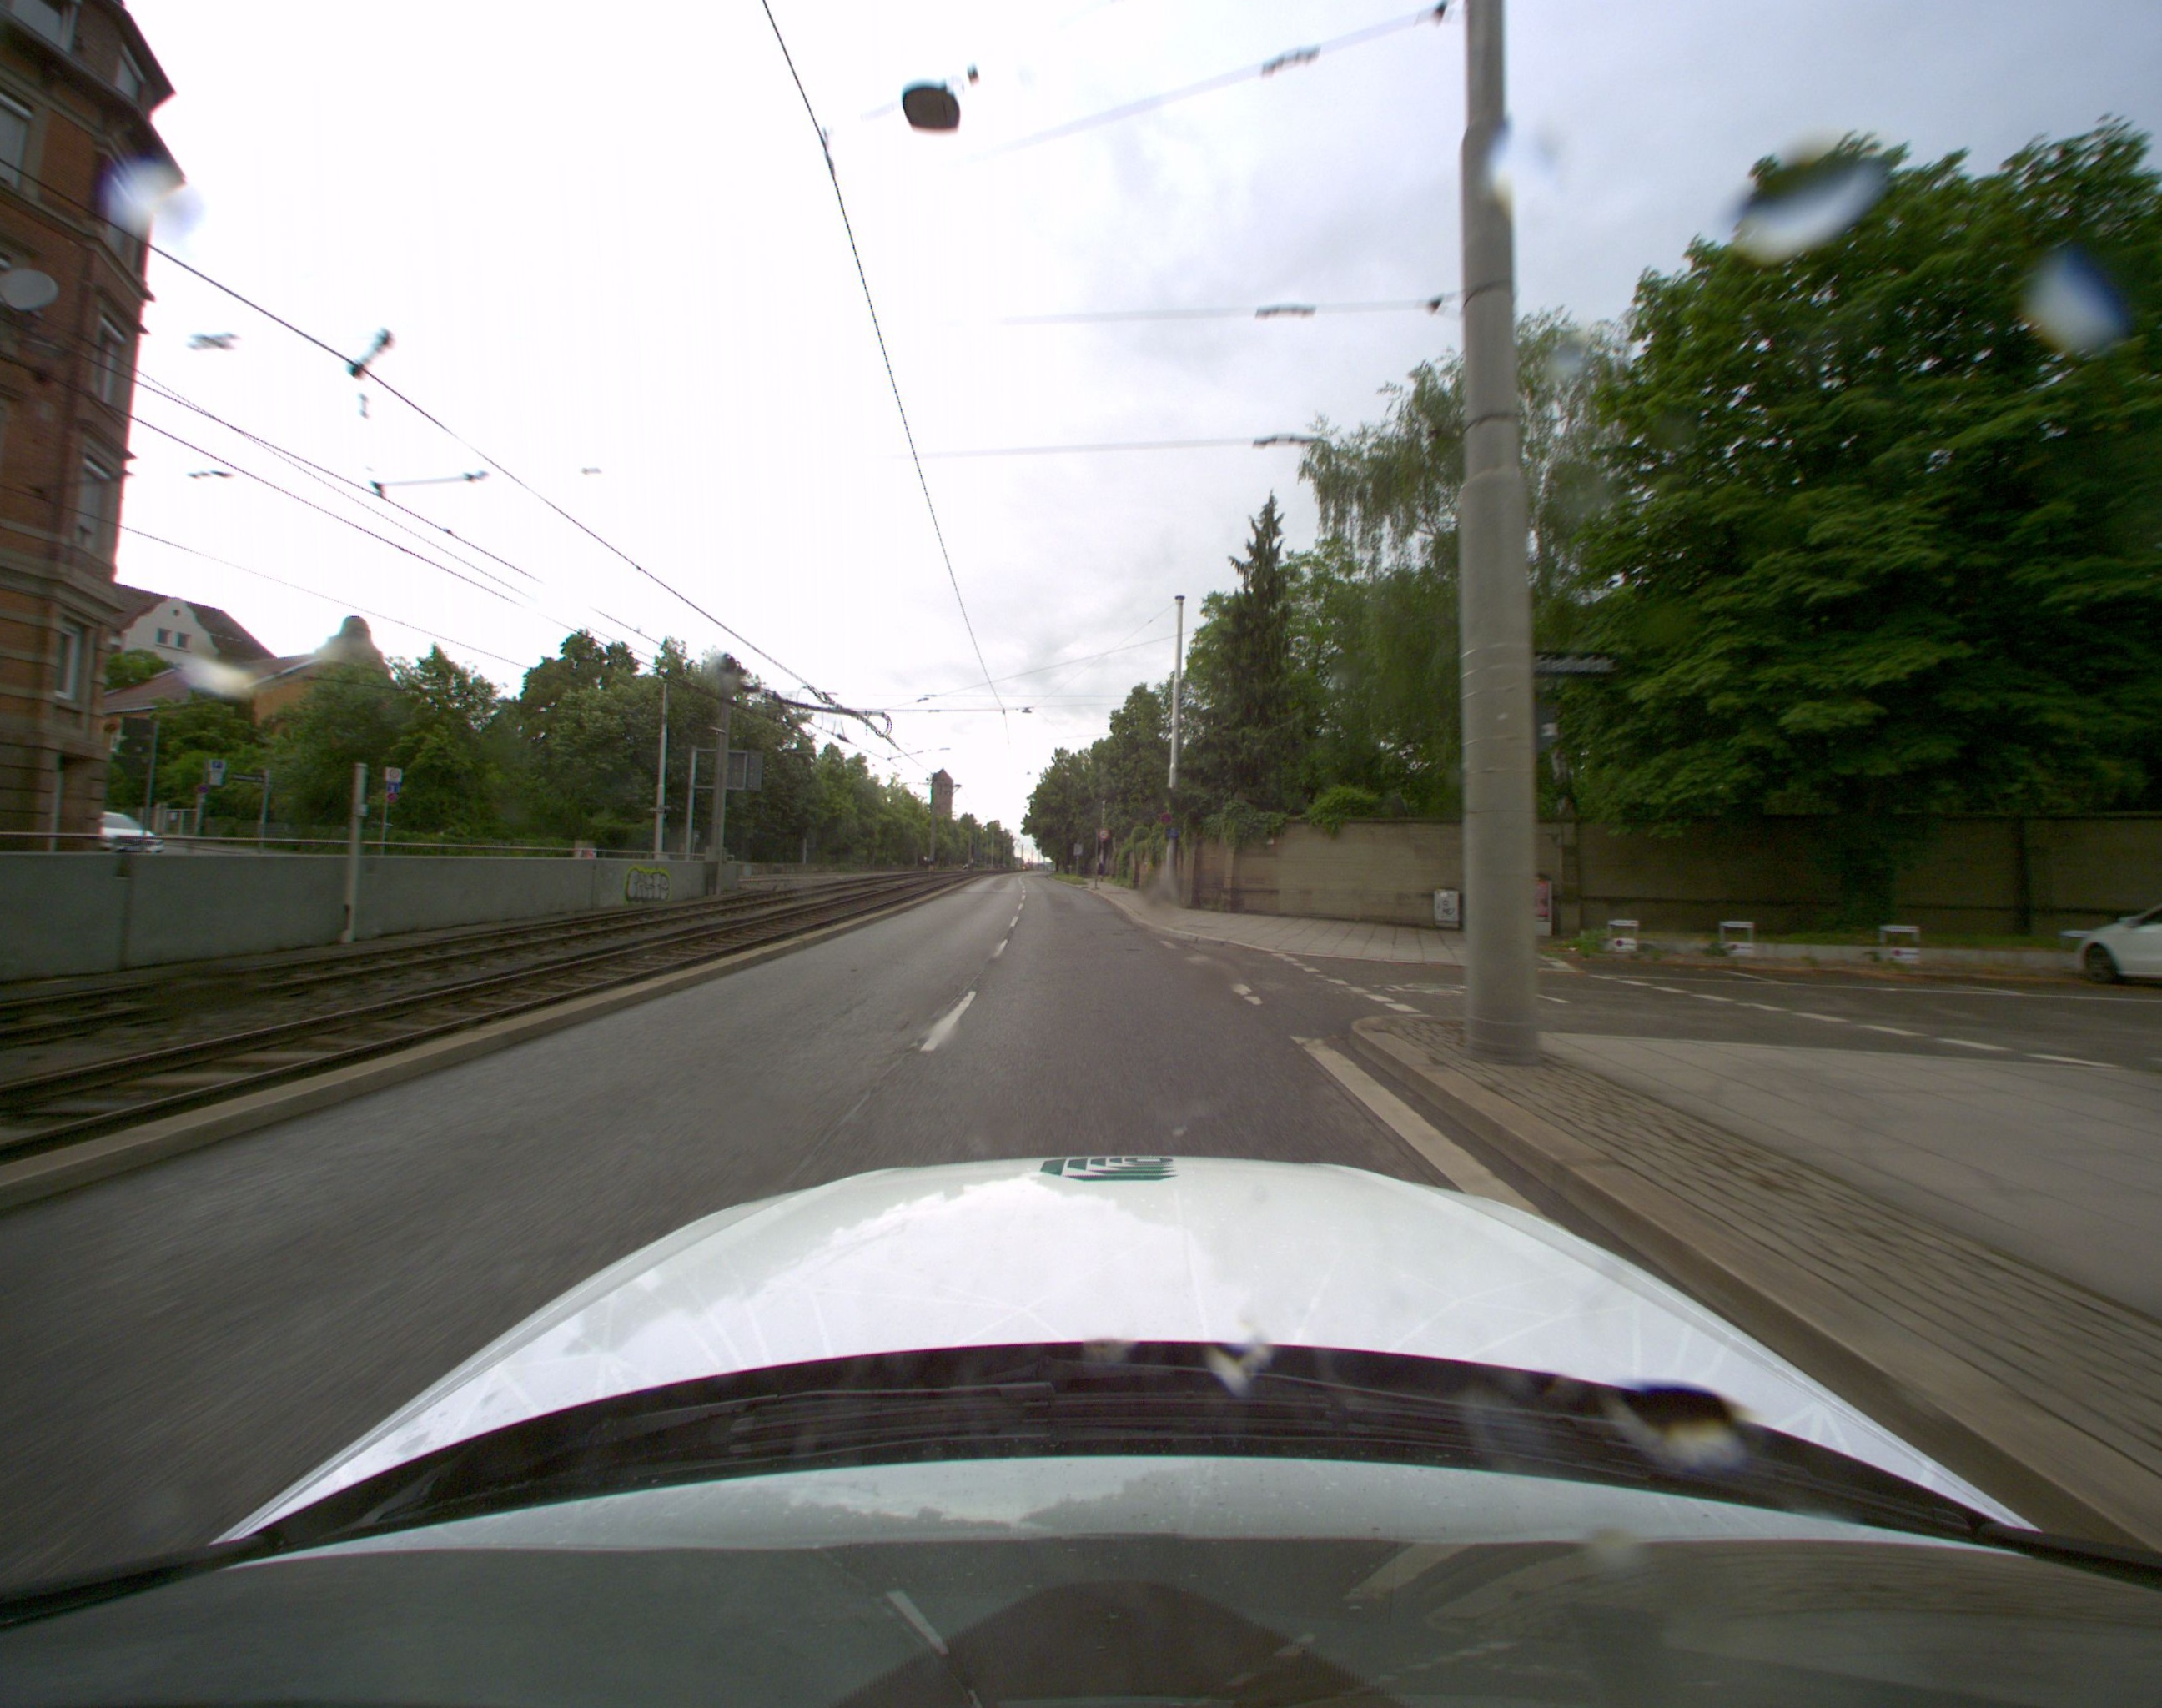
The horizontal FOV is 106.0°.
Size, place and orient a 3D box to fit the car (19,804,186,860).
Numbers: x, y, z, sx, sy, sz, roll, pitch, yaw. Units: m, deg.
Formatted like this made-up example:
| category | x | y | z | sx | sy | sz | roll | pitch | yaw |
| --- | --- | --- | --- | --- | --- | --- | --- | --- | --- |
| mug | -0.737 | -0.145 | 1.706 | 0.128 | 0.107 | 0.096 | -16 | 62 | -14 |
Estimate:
| category | x | y | z | sx | sy | sz | roll | pitch | yaw |
| --- | --- | --- | --- | --- | --- | --- | --- | --- | --- |
| car | -33.189 | -0.732 | 27.645 | 4.312 | 1.503 | 1.913 | 3 | -4 | 16 |

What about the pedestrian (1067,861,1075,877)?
| category | x | y | z | sx | sy | sz | roll | pitch | yaw |
| --- | --- | --- | --- | --- | --- | --- | --- | --- | --- |
| pedestrian | -1.083 | 1.617 | 86.392 | 0.718 | 1.687 | 0.728 | 3 | -2 | -3 |

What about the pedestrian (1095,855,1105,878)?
| category | x | y | z | sx | sy | sz | roll | pitch | yaw |
| --- | --- | --- | --- | --- | --- | --- | --- | --- | --- |
| pedestrian | 1.555 | 1.012 | 66.715 | 0.718 | 1.850 | 0.782 | 3 | -2 | -2 |

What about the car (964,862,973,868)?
| category | x | y | z | sx | sy | sz | roll | pitch | yaw |
| --- | --- | --- | --- | --- | --- | --- | --- | --- | --- |
| car | -27.511 | 2.707 | 199.115 | 1.790 | 1.510 | 3.845 | 2 | -1 | -2 |

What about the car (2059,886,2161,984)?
| category | x | y | z | sx | sy | sz | roll | pitch | yaw |
| --- | --- | --- | --- | --- | --- | --- | --- | --- | --- |
| car | 16.398 | 1.168 | 11.438 | 1.737 | 1.406 | 4.021 | 0 | -3 | 23 |
